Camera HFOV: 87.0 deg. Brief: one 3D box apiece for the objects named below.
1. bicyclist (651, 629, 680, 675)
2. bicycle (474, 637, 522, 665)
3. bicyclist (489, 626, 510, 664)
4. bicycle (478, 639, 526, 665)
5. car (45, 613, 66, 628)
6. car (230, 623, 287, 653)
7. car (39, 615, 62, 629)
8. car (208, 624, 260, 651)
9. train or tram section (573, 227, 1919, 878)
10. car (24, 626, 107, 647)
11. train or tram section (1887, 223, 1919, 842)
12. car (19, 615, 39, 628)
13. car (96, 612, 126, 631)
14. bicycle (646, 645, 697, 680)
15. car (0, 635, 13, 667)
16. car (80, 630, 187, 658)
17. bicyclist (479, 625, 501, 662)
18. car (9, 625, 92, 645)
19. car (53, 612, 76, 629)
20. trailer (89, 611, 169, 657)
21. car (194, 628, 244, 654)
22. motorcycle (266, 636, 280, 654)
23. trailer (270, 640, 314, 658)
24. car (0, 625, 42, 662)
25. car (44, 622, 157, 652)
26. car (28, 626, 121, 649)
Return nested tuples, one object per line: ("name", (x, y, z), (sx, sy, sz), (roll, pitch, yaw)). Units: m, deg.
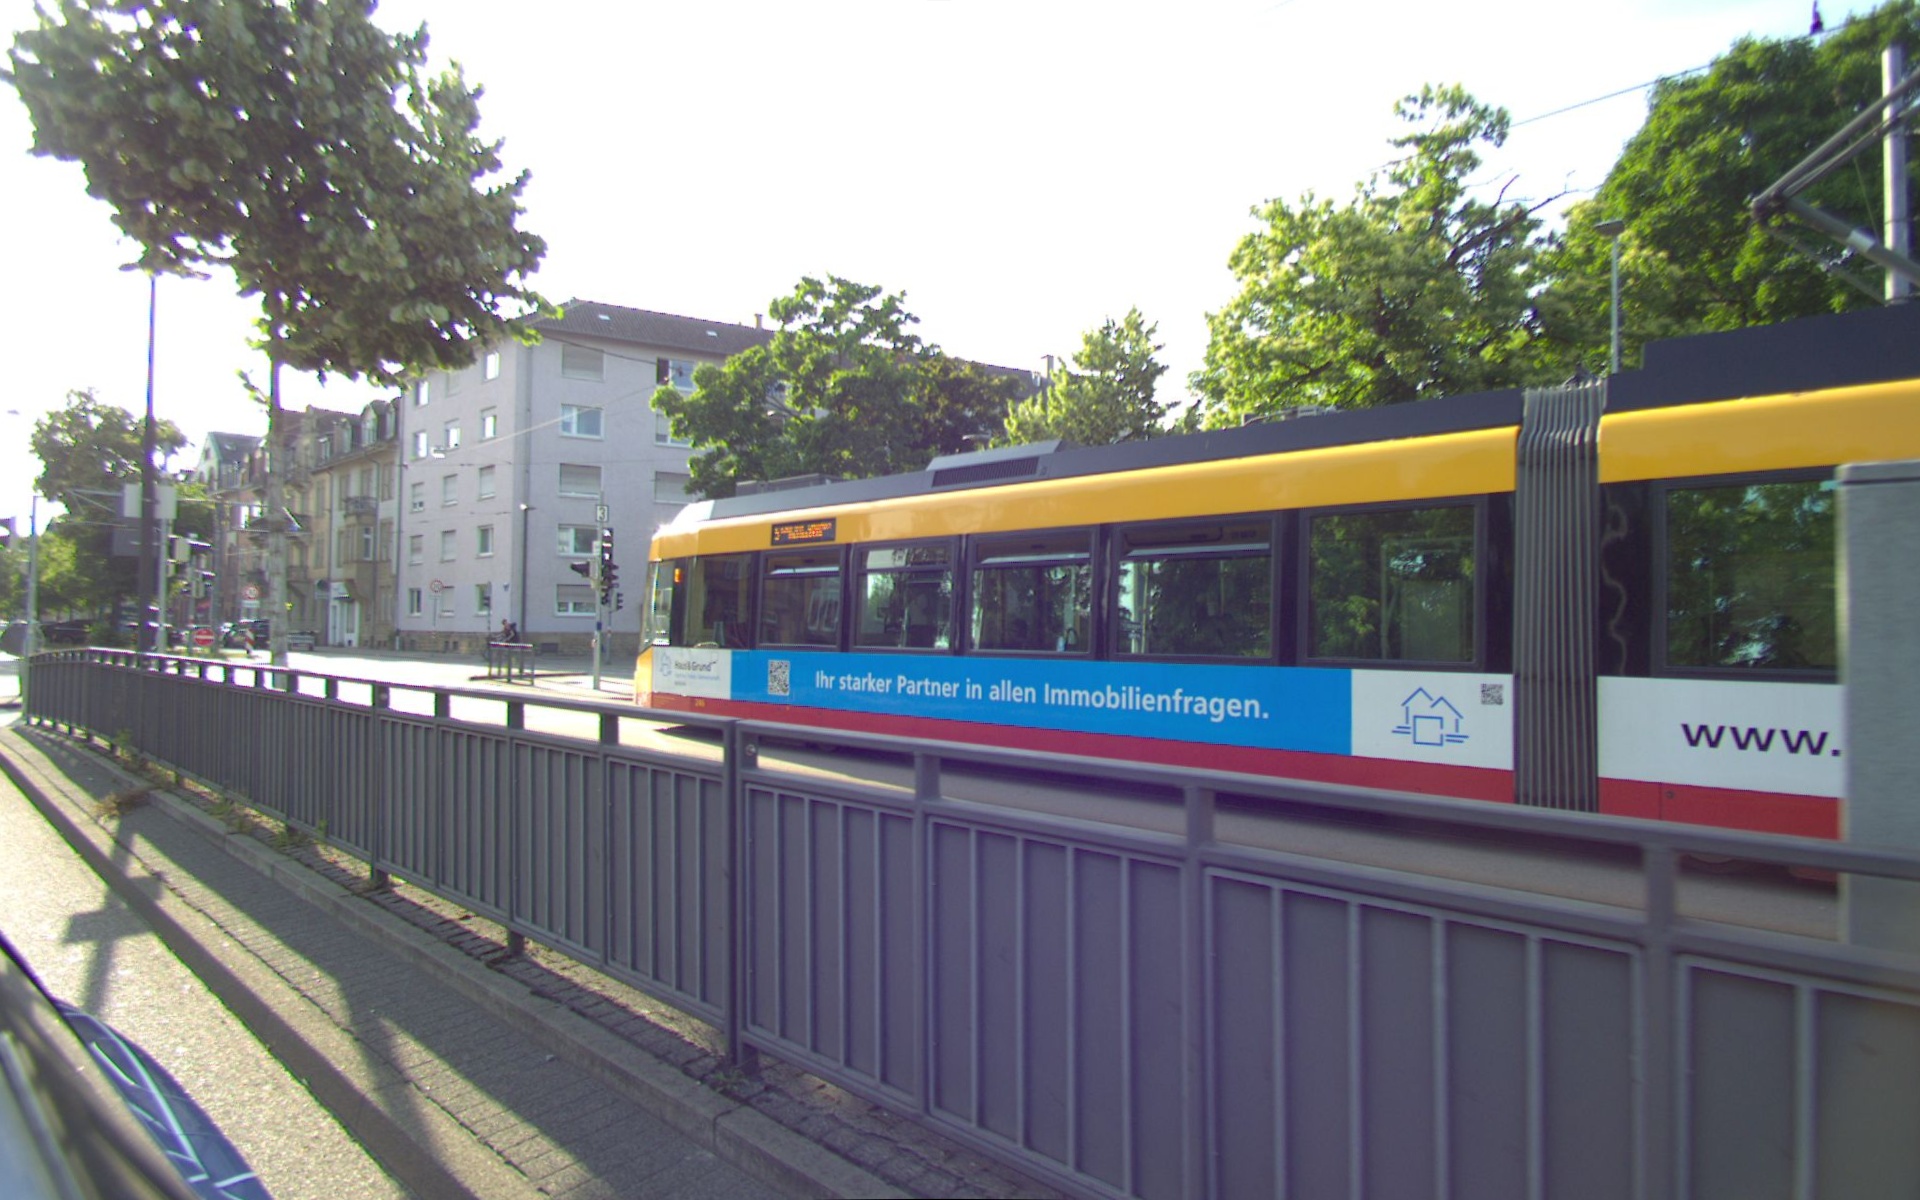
("bicyclist", (-9.347, 1.633, 32.127), (0.717, 1.424, 0.643), (-2, -2, 45))
("bicycle", (-20.991, 2.318, 45.945), (1.946, 1.212, 0.737), (0, -2, -27))
("bicyclist", (-20.425, 1.989, 44.913), (0.760, 1.655, 0.797), (2, -3, -27))
("bicycle", (-20.367, 2.298, 44.986), (1.883, 1.119, 0.737), (2, -3, -27))
("car", (-123.520, 2.858, 138.146), (1.970, 2.029, 4.003), (1, -2, -44))
("car", (-44.231, 2.372, 63.777), (4.720, 1.763, 2.140), (-2, -2, 45))
("car", (-132.241, 3.191, 147.125), (3.999, 2.029, 1.972), (-2, -2, 42))
("car", (-48.930, 2.519, 68.182), (4.612, 1.763, 2.140), (-2, -2, 45))
("train or tram section", (0.732, -0.077, 11.409), (14.525, 3.506, 3.129), (-2, -2, 41))
("car", (-63.038, 2.586, 71.363), (4.205, 1.433, 1.684), (0, -2, -6))
("train or tram section", (11.584, -0.400, 1.797), (14.464, 3.506, 3.129), (-2, -2, 41))
("car", (-148.540, 3.474, 161.490), (3.999, 2.029, 1.972), (-2, -2, 42))
("car", (-92.158, 2.301, 109.831), (4.000, 2.029, 1.972), (-2, -2, 43))
("bicycle", (-9.136, 1.965, 31.999), (0.535, 1.026, 2.252), (1, -2, -44))
("car", (-57.068, 2.960, 59.232), (3.999, 1.796, 1.972), (-1, -3, 42))
("car", (-42.441, 2.243, 52.024), (3.887, 1.370, 1.677), (1, -2, -13))
("bicyclist", (-21.267, 1.974, 45.767), (0.839, 1.655, 0.816), (1, -2, -27))
("car", (-68.447, 2.641, 76.223), (4.205, 1.433, 2.175), (0, -2, -6))
("car", (-115.385, 2.656, 130.418), (1.970, 2.029, 4.003), (1, -2, -44))
("trailer", (-44.694, 1.810, 54.497), (2.817, 2.410, 1.728), (0, -2, -16))
("car", (-52.541, 2.864, 71.714), (4.612, 1.763, 2.140), (-2, -2, 45))
("motorcycle", (-41.251, 2.685, 60.779), (0.627, 1.088, 1.738), (1, -2, -36))
("trailer", (-39.155, 2.841, 59.293), (2.879, 0.903, 1.425), (-2, 1, 42))
("car", (-42.533, 1.939, 45.377), (1.970, 1.586, 4.004), (1, -2, -43))
("car", (-50.670, 2.207, 59.759), (4.645, 1.703, 2.175), (1, -2, -6))
("car", (-58.094, 2.447, 66.432), (4.239, 1.433, 1.962), (0, -2, -6))
